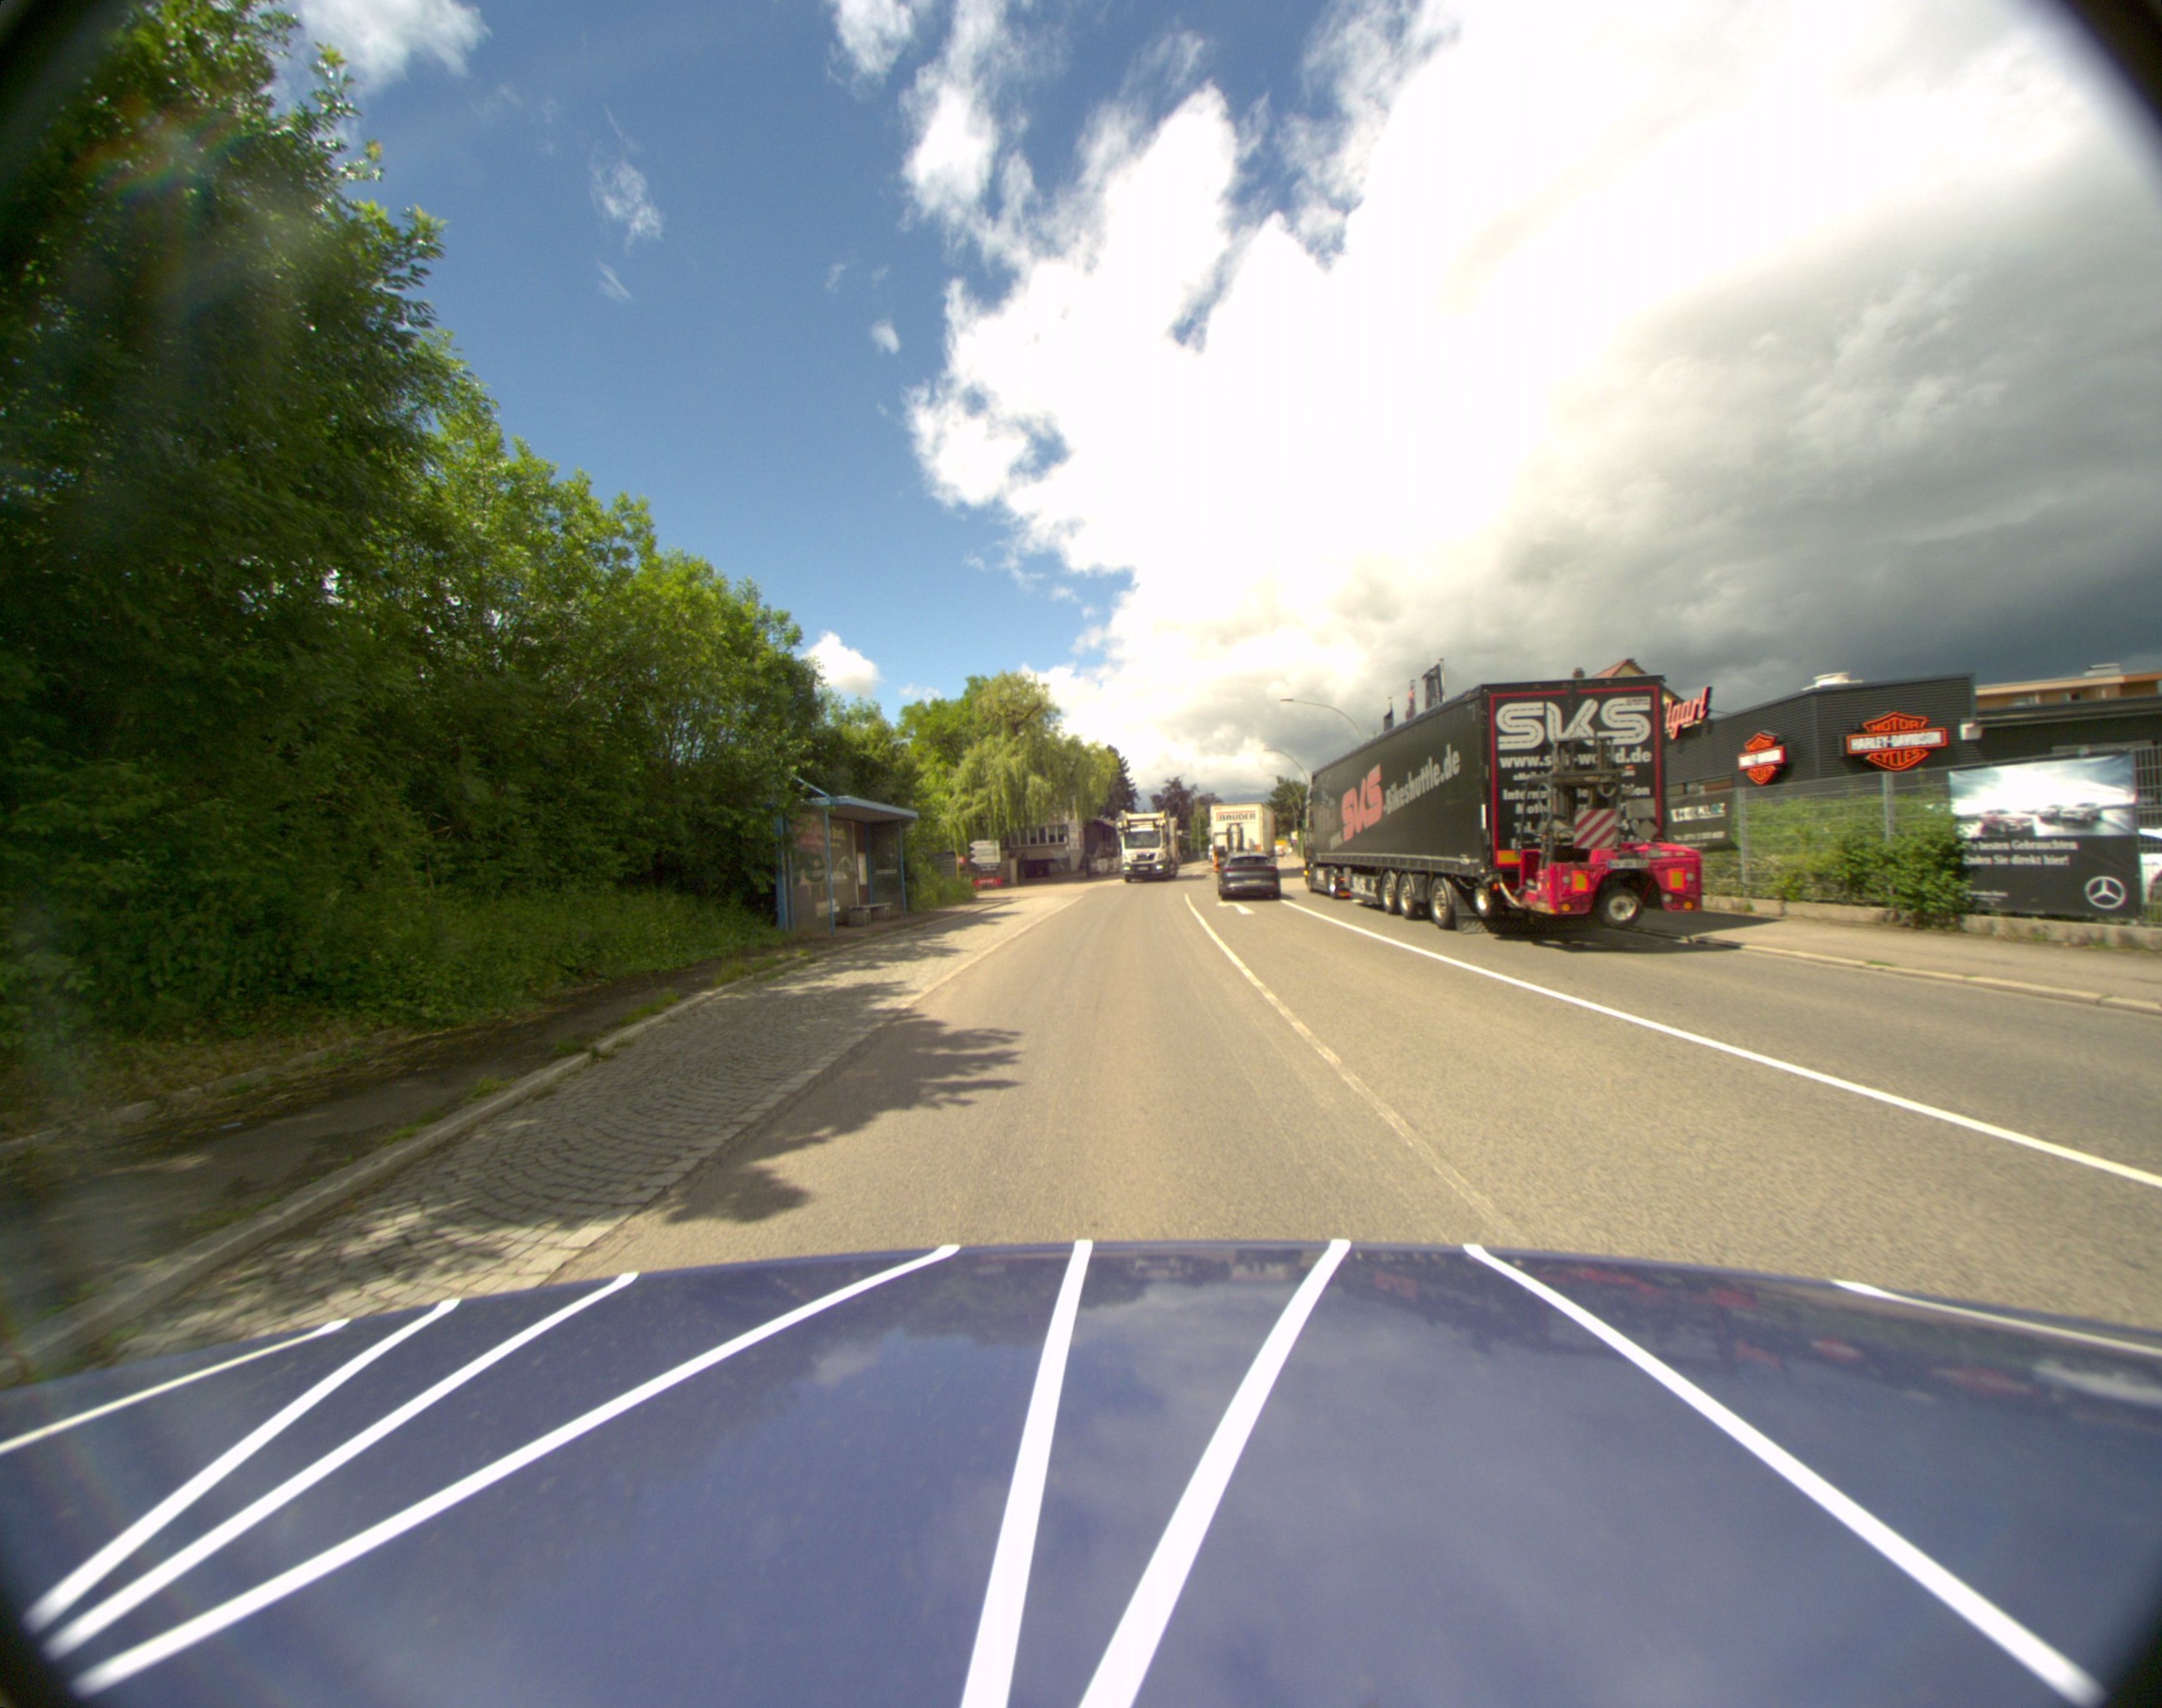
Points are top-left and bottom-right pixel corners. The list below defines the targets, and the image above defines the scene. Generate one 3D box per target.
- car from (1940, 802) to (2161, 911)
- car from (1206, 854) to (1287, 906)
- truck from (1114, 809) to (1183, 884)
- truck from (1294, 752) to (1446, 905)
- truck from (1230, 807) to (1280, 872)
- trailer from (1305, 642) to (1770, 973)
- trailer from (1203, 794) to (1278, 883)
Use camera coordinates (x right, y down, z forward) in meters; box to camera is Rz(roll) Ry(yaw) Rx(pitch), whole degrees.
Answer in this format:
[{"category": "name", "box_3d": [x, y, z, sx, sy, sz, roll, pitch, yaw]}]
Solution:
[{"category": "car", "box_3d": [17.613, -0.027, 13.011, 1.724, 1.596, 4.154, -3, 1, 13]}, {"category": "car", "box_3d": [5.224, 0.762, 24.538, 1.844, 1.455, 4.254, -2, 0, 3]}, {"category": "truck", "box_3d": [4.230, -0.465, 45.088, 2.662, 3.789, 9.823, -3, 0, 12]}, {"category": "truck", "box_3d": [8.832, -0.713, 24.080, 2.805, 4.029, 6.504, -3, 0, 7]}, {"category": "truck", "box_3d": [11.896, -0.972, 51.672, 2.775, 4.095, 4.991, -3, 1, 17]}, {"category": "trailer", "box_3d": [8.049, -0.637, 17.394, 2.805, 4.029, 15.562, -3, 0, 7]}, {"category": "trailer", "box_3d": [9.650, -0.889, 44.230, 2.775, 4.120, 15.367, -3, 0, 17]}]
